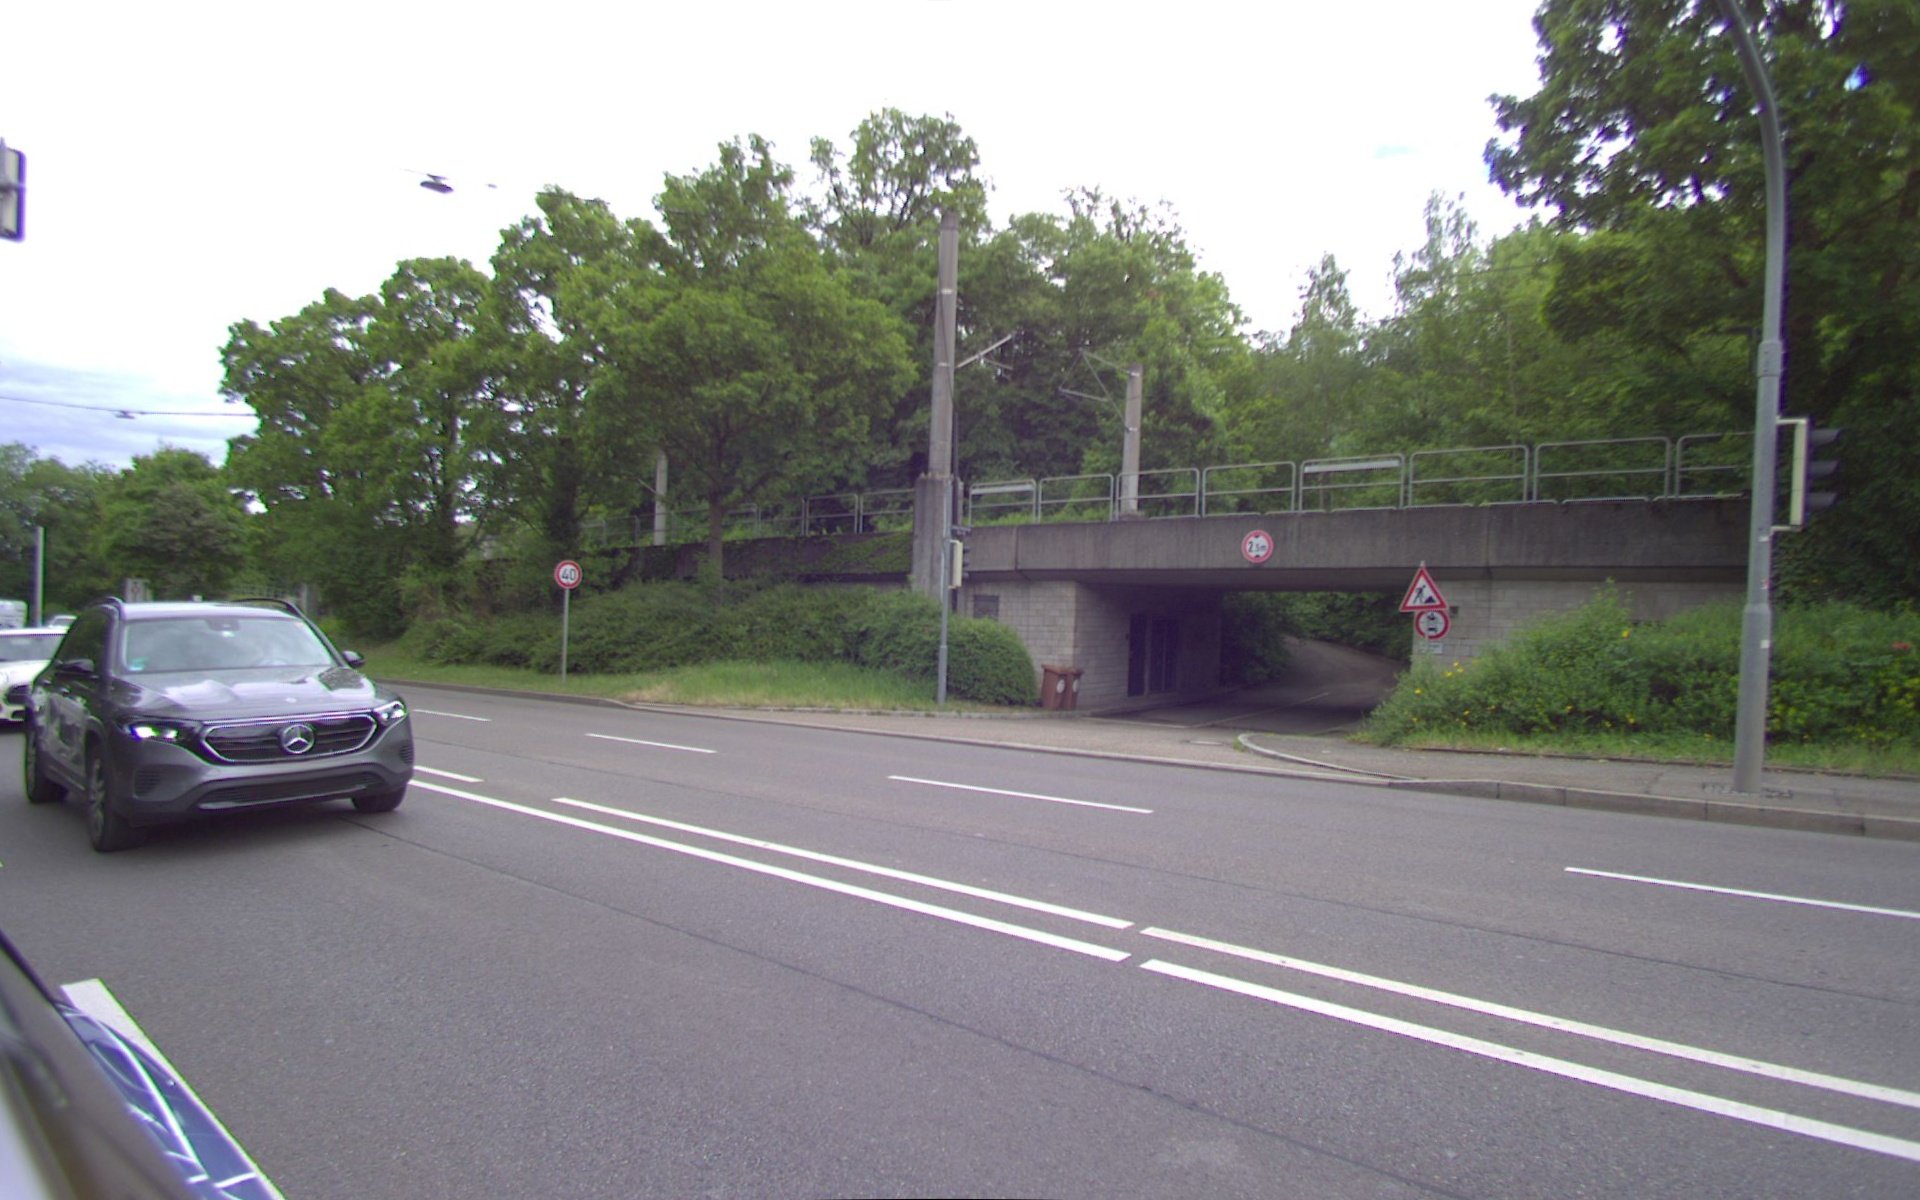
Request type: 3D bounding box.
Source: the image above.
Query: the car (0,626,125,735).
[{"bbox_3d":[-13.884,1.120,15.048,3.731,1.435,1.667,-2,-2,41],"label":"car"}]

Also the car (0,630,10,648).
[{"bbox_3d":[-77.216,3.065,79.877,1.736,1.452,3.903,2,-3,-19],"label":"car"}]

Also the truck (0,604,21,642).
[{"bbox_3d":[-82.537,1.861,85.305,2.164,3.180,6.670,2,-3,-17],"label":"truck"}]

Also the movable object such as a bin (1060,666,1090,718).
[{"bbox_3d":[2.492,1.981,21.901,0.503,1.071,0.414,-1,-3,36],"label":"movable object such as a bin"}]

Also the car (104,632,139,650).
[{"bbox_3d":[-84.360,4.121,101.898,1.748,1.814,4.013,1,-3,-26],"label":"car"}]

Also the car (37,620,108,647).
[{"bbox_3d":[-76.450,2.873,87.308,2.247,2.217,6.478,0,-1,-19],"label":"car"}]

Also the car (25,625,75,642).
[{"bbox_3d":[-85.635,3.166,95.257,1.727,1.372,4.021,4,-4,-14],"label":"car"}]

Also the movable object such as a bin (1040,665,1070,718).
[{"bbox_3d":[2.005,1.912,21.313,0.503,1.071,0.414,-1,-3,36],"label":"movable object such as a bin"}]

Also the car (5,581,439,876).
[{"bbox_3d":[-5.884,0.775,7.854,4.356,1.664,1.830,-2,-2,41],"label":"car"}]
